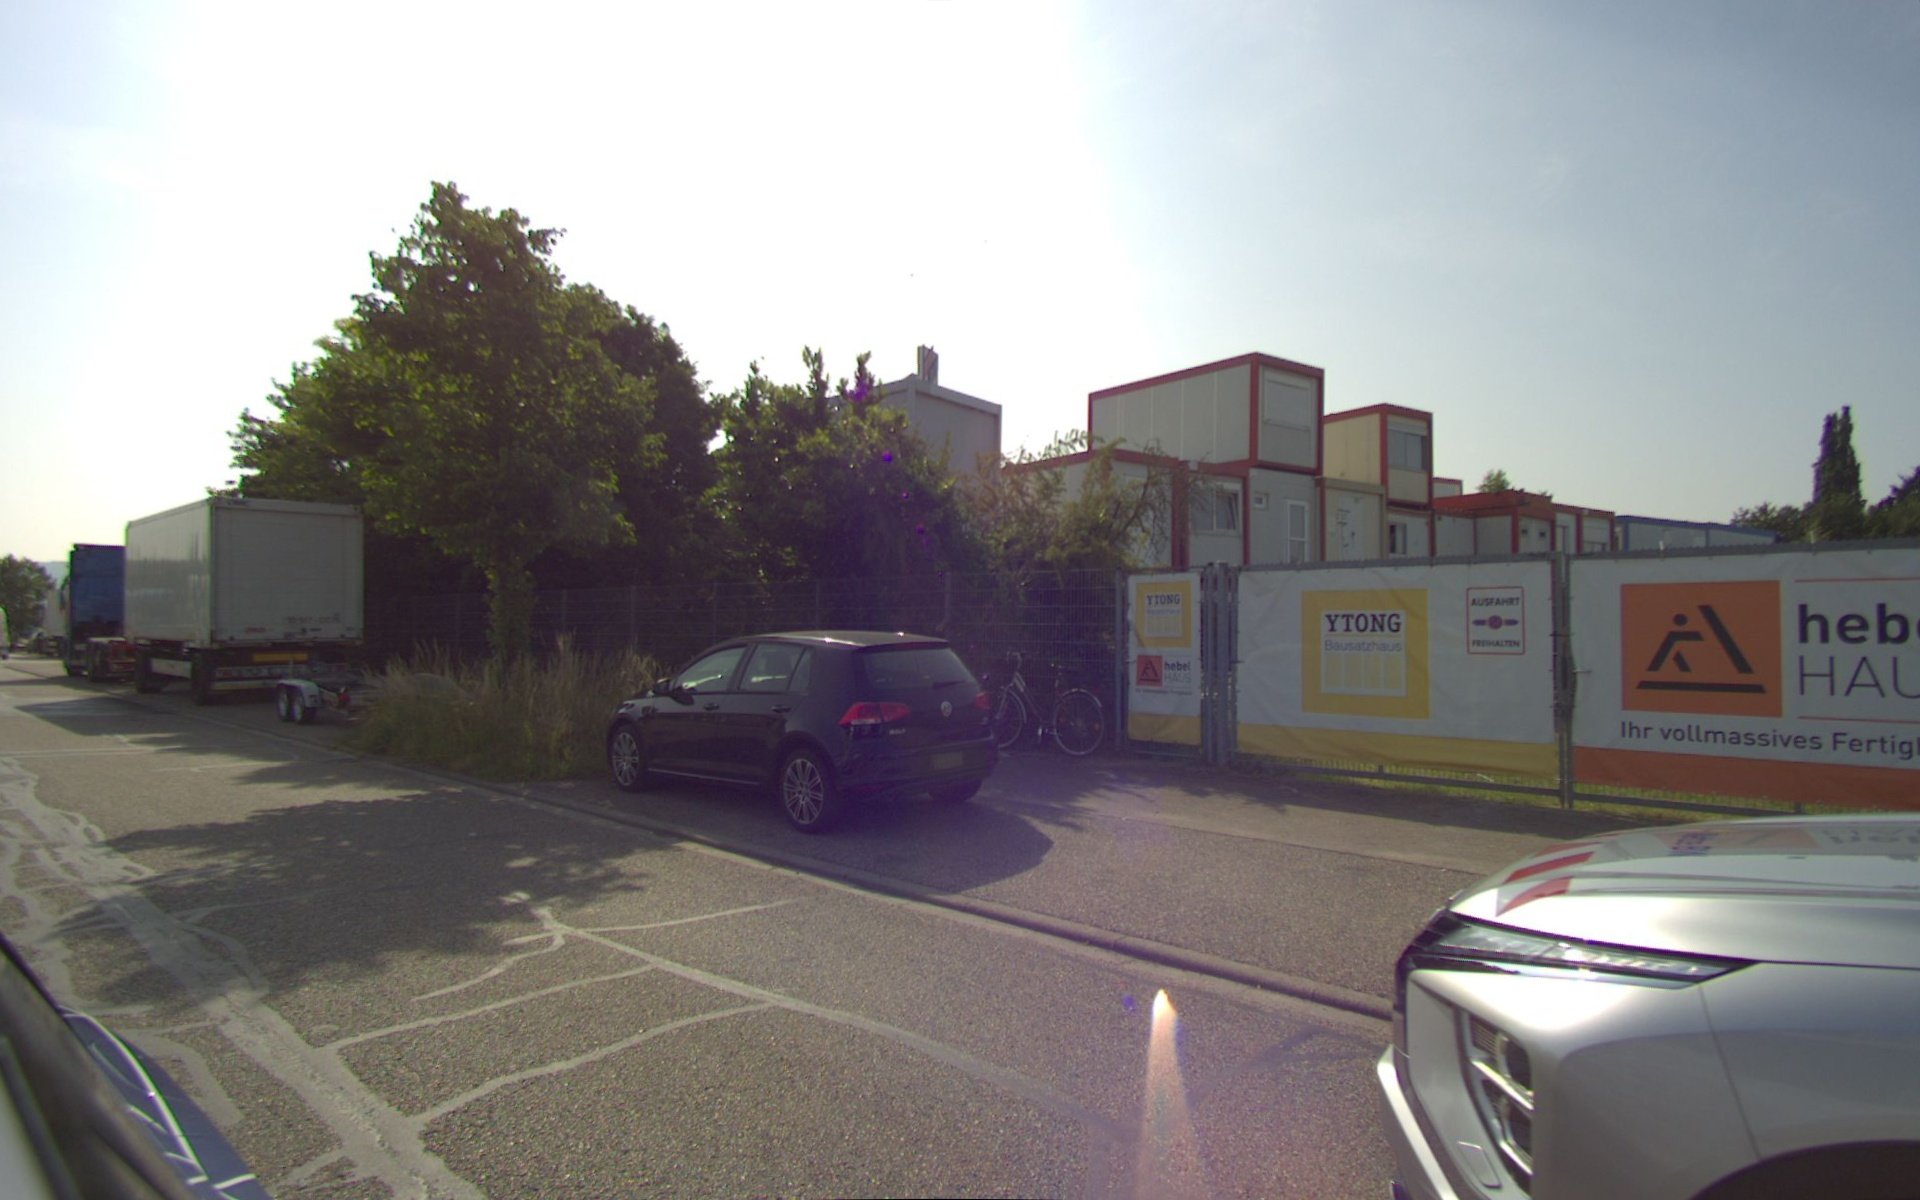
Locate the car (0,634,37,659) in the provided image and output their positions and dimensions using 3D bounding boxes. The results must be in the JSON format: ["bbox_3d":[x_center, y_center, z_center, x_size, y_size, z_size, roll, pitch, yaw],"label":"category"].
[{"bbox_3d":[-63.785,3.110,68.348,3.965,1.594,1.712,-2,-1,41],"label":"car"}]

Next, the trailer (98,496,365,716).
[{"bbox_3d":[-16.297,0.198,22.247,9.760,3.914,2.672,-1,-1,41],"label":"trailer"}]

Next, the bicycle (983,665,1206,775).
[{"bbox_3d":[1.366,1.218,10.745,2.451,0.980,0.556,-1,-3,41],"label":"bicycle"}]

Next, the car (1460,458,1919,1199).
[{"bbox_3d":[2.962,0.647,0.853,4.247,1.639,1.792,-2,-3,41],"label":"car"}]

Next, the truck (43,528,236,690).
[{"bbox_3d":[-23.492,0.306,28.723,9.631,3.914,2.685,-1,-1,41],"label":"truck"}]

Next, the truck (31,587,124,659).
[{"bbox_3d":[-51.708,1.403,59.186,10.059,3.883,2.747,-2,-4,42],"label":"truck"}]

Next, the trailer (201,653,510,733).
[{"bbox_3d":[-10.265,1.434,16.918,6.239,0.993,2.621,-2,-3,41],"label":"trailer"}]

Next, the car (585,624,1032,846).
[{"bbox_3d":[-1.486,0.972,8.808,4.093,1.481,1.669,-2,-3,43],"label":"car"}]
